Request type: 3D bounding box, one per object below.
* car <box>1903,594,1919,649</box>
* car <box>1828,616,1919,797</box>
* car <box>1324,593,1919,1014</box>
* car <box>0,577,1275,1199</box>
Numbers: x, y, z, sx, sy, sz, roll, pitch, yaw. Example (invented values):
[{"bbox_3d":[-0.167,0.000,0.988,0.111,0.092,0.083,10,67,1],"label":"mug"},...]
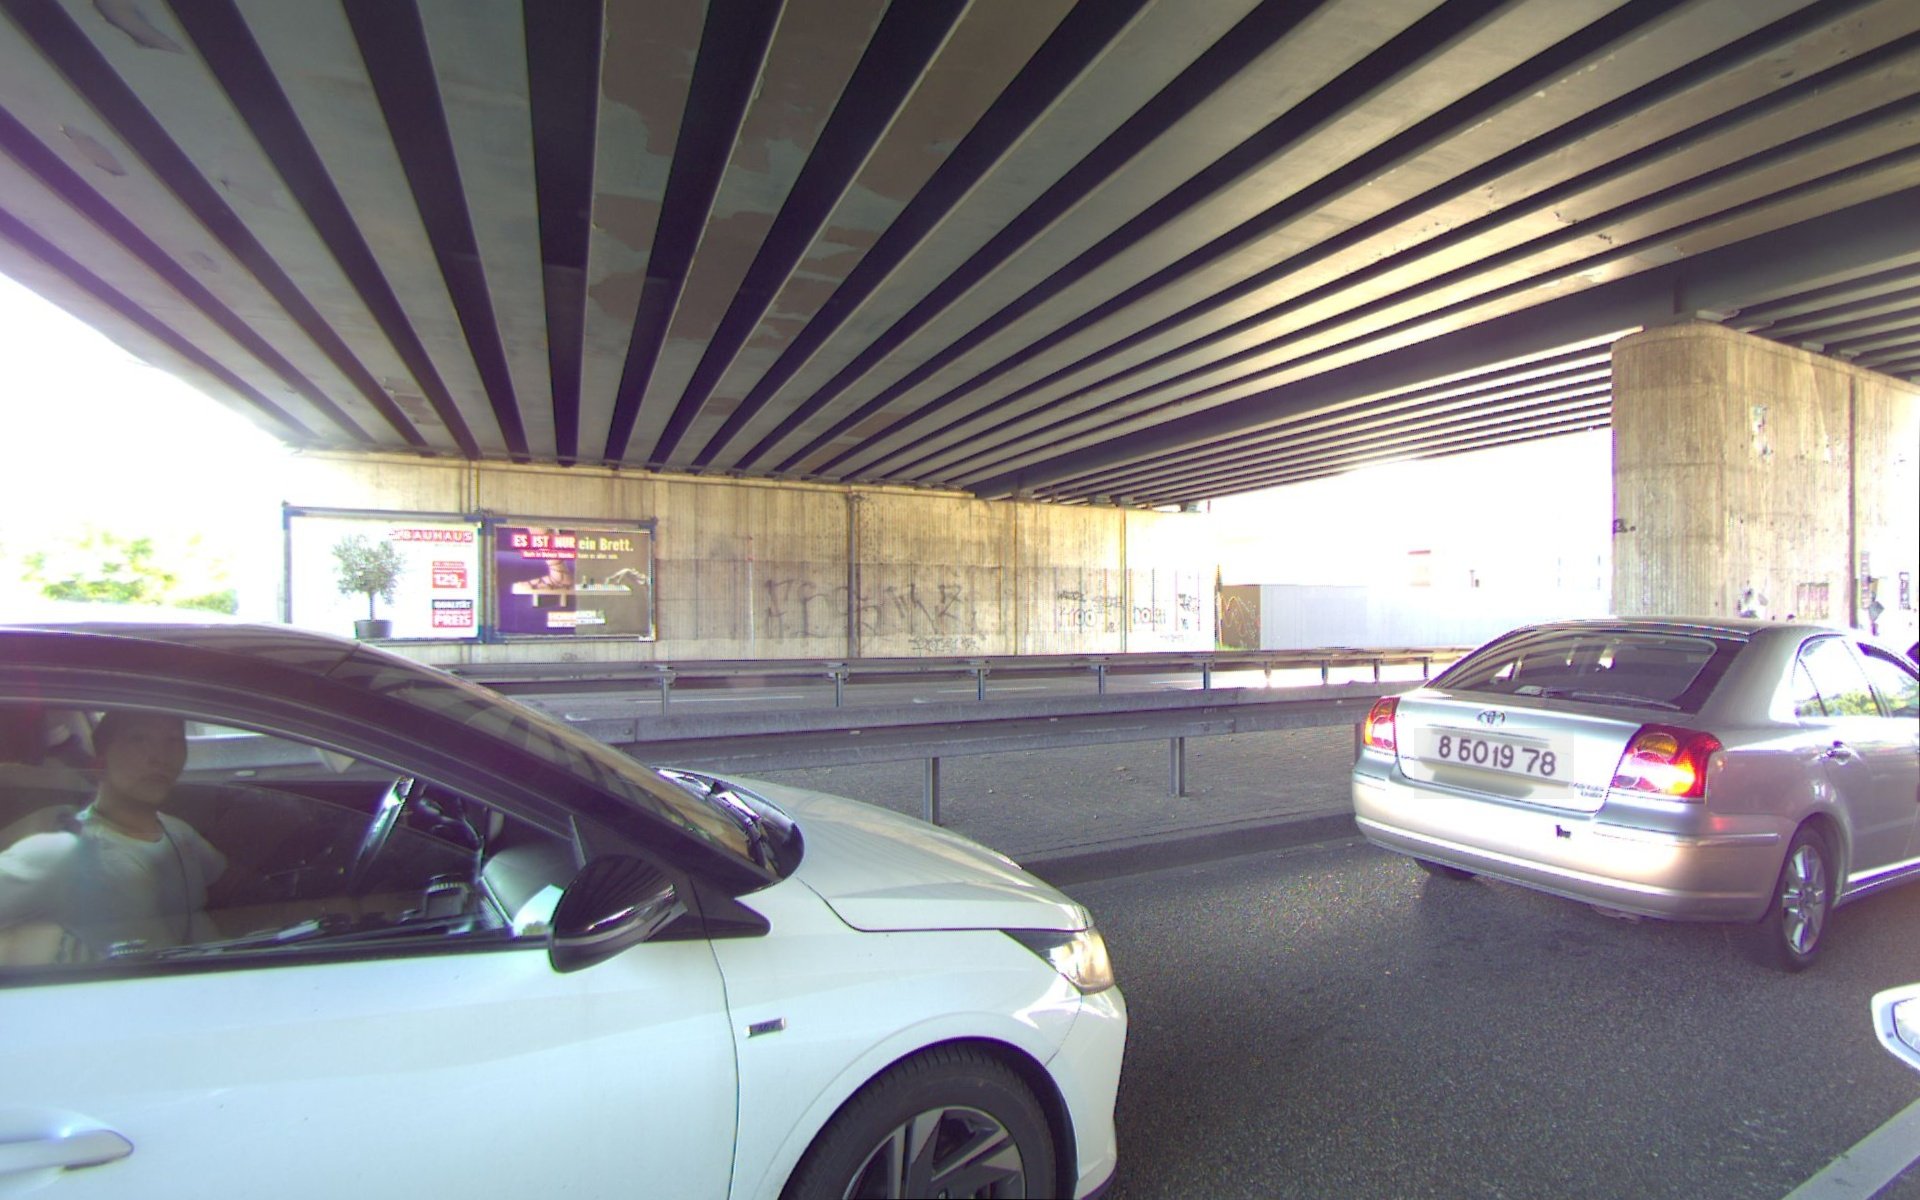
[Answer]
[{"bbox_3d":[29.175,0.660,27.746,4.473,1.534,1.828,2,0,1],"label":"car"},{"bbox_3d":[9.553,0.886,8.862,3.687,1.457,1.804,0,0,-31],"label":"car"},{"bbox_3d":[4.096,0.773,5.457,4.270,1.499,1.724,1,-1,-32],"label":"car"},{"bbox_3d":[-1.413,0.730,1.965,3.946,1.499,1.724,1,-1,-32],"label":"car"}]
